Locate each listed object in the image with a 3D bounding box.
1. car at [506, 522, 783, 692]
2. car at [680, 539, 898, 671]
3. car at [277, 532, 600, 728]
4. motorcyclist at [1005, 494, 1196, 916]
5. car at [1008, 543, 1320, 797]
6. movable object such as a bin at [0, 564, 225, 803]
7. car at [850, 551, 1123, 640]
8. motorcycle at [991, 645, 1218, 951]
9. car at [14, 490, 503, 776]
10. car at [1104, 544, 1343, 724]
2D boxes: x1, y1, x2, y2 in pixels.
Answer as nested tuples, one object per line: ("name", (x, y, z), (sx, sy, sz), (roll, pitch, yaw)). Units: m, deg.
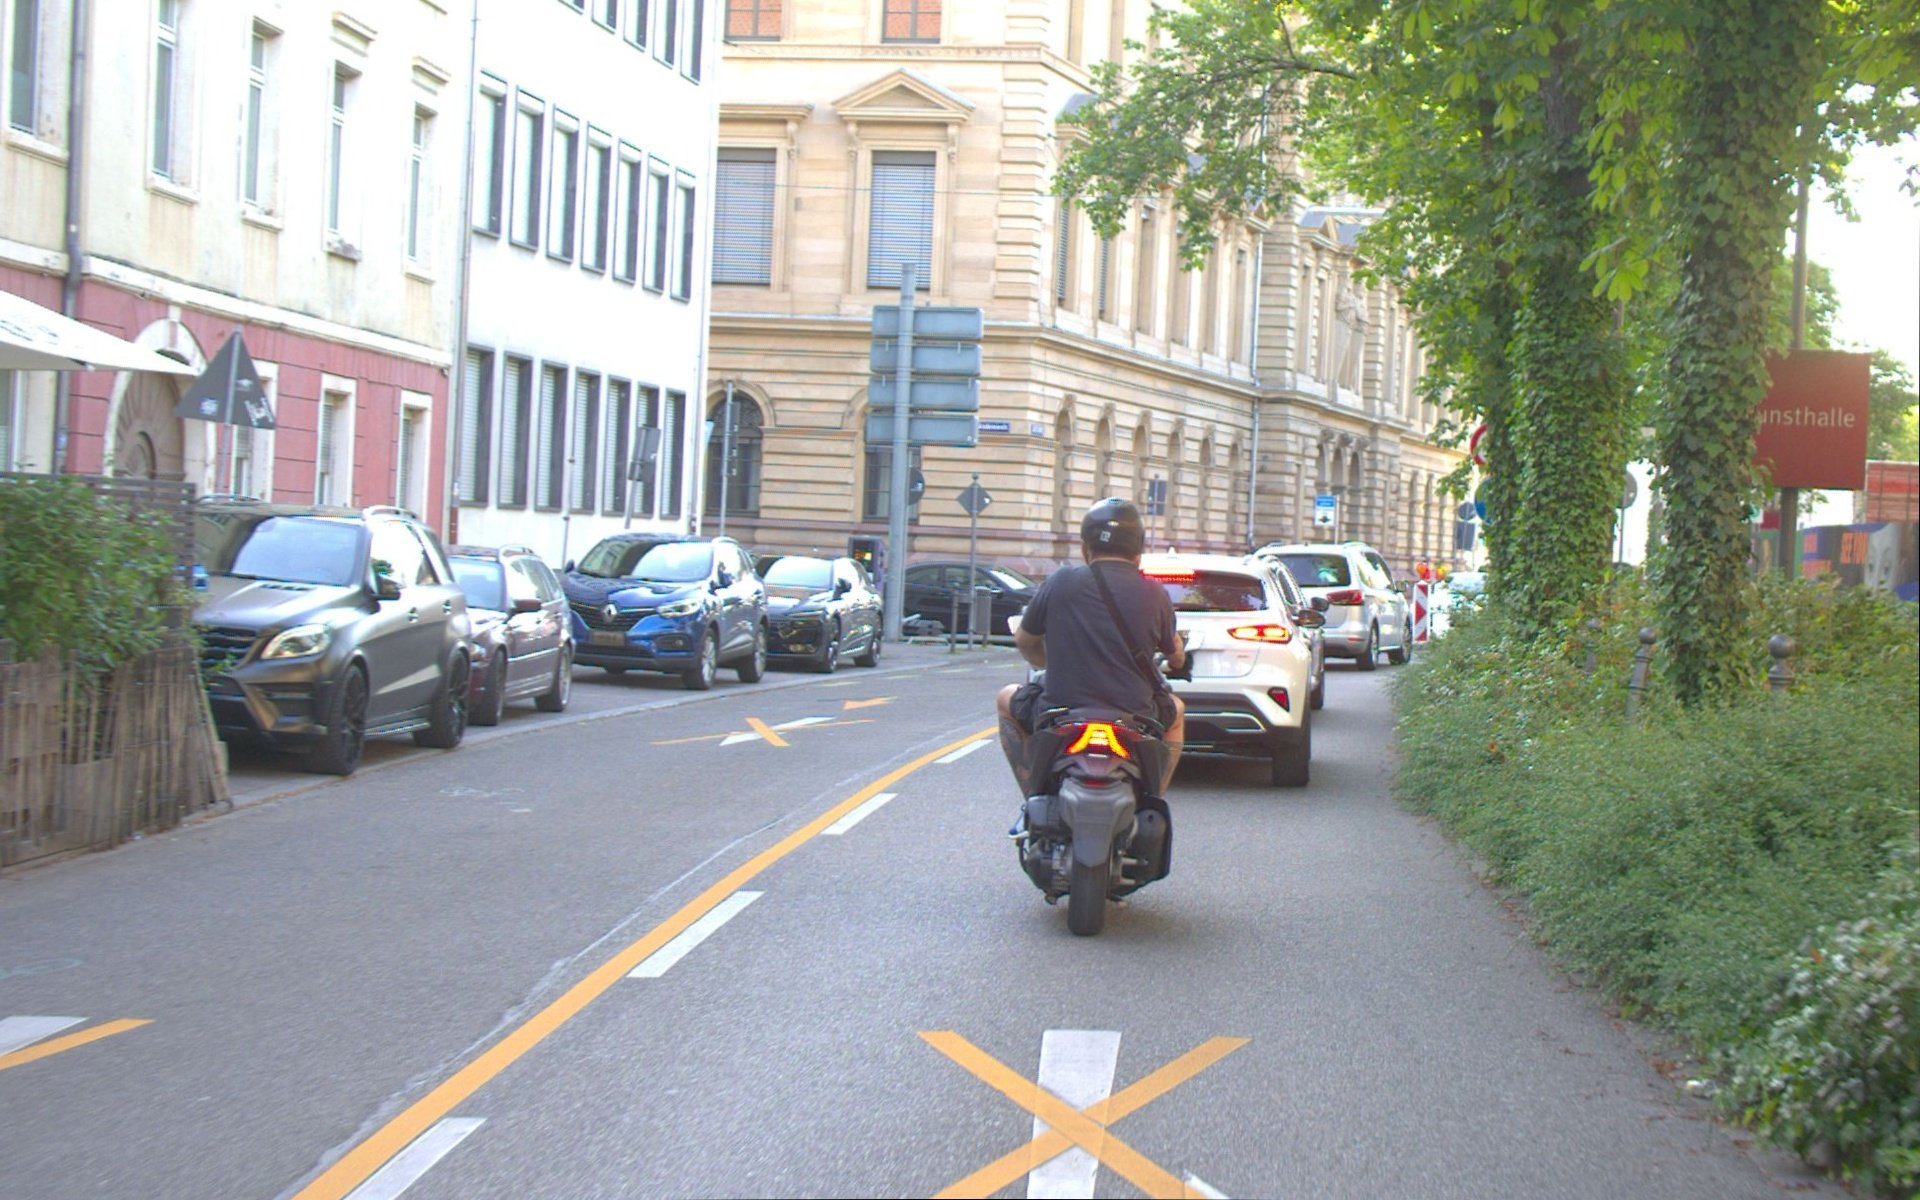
("car", (-3.337, 0.042, 37.216), (1.934, 1.662, 4.345), (2, 1, 9))
("car", (-2.145, 0.036, 44.466), (1.824, 1.498, 4.758), (4, 1, 8))
("car", (-4.301, 0.201, 29.023), (1.653, 1.475, 4.427), (2, 1, 5))
("motorcyclist", (0.571, 0.412, 14.041), (0.657, 1.645, 0.650), (4, 1, 2))
("car", (1.464, 0.399, 23.184), (1.851, 1.475, 4.057), (3, 1, 6))
("movable object such as a bin", (-4.993, 0.459, 19.761), (1.216, 1.291, 0.930), (2, 1, 8))
("car", (0.457, -0.089, 59.003), (4.317, 1.385, 1.774), (2, 1, 18))
("motorcycle", (0.561, 0.763, 13.931), (0.796, 1.062, 1.725), (4, 1, 1))
("car", (-4.600, 0.165, 23.333), (1.922, 1.674, 4.784), (2, 1, 5))
("car", (2.530, 0.278, 32.138), (1.841, 1.458, 4.056), (4, 1, 9))
